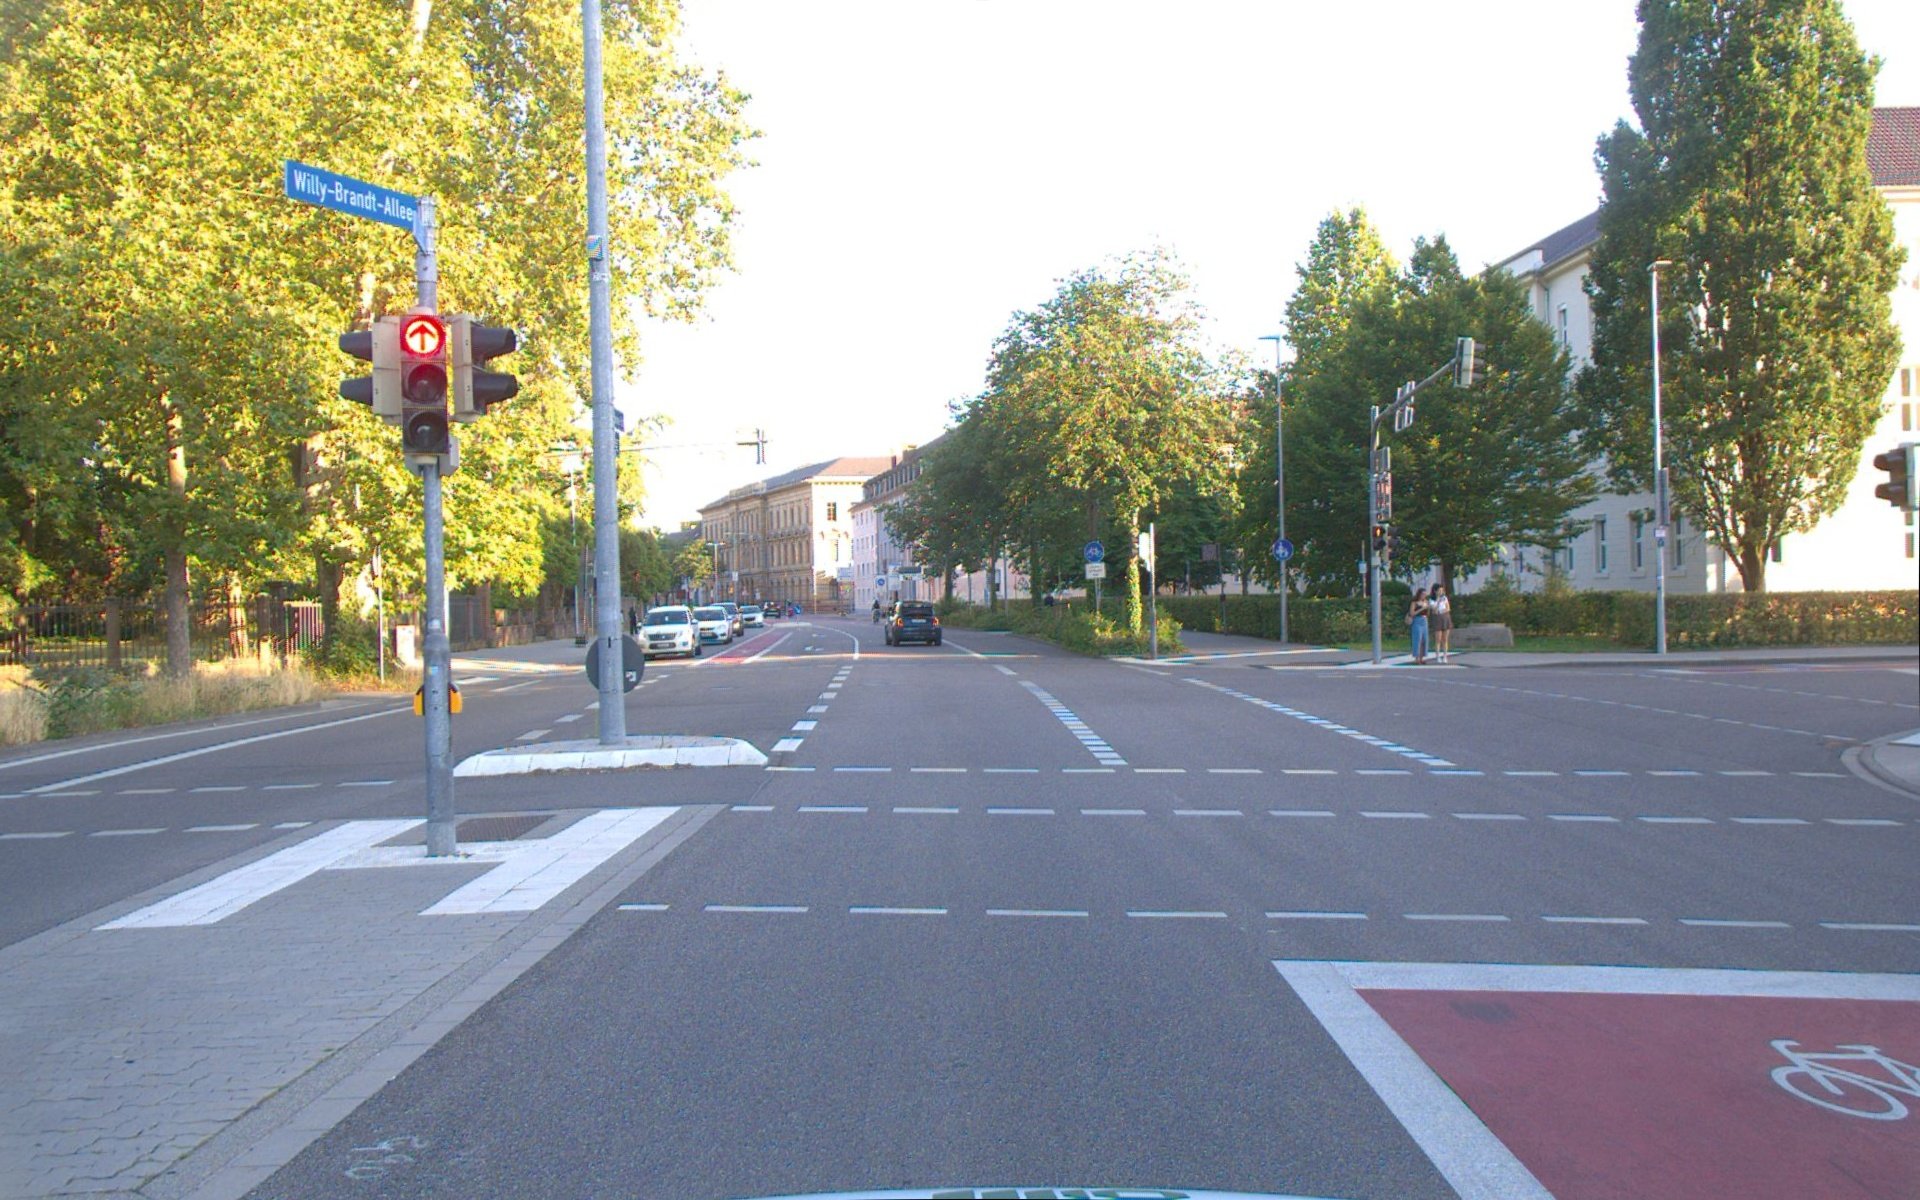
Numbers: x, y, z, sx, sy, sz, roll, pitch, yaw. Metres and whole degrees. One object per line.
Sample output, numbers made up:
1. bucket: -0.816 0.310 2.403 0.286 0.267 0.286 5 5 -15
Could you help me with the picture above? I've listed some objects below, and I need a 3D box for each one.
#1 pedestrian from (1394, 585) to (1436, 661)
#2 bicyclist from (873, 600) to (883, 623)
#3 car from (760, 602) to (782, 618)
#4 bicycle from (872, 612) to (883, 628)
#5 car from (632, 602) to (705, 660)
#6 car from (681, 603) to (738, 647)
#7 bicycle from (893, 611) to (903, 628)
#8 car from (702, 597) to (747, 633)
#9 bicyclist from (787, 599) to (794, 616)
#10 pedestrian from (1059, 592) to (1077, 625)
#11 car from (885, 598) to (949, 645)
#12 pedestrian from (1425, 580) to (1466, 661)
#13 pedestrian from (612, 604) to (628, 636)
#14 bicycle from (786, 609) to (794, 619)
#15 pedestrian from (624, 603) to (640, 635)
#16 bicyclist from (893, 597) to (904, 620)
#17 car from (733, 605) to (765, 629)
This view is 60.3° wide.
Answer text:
1. pedestrian: 10.181 0.500 37.013 0.667 1.650 0.845 -1 0 -1
2. bicyclist: -5.383 0.739 108.241 0.639 1.471 0.878 1 0 -5
3. car: -19.431 1.020 169.728 1.882 1.442 4.758 -3 0 -11
4. bicycle: -5.401 1.299 108.267 0.639 1.033 2.196 1 0 -4
5. car: -9.454 0.973 53.967 1.879 1.725 4.422 -3 0 -5
6. car: -10.227 0.986 67.798 1.879 1.611 4.669 -3 0 -5
7. bicycle: -4.079 1.280 109.147 0.639 1.033 2.196 1 0 -3
8. car: -11.697 0.723 82.519 1.879 1.653 4.634 -3 0 -5
9. bicyclist: -17.836 0.813 173.608 0.640 1.727 0.954 1 -1 -11
10. pedestrian: 5.757 0.455 87.933 0.756 1.769 0.805 -1 0 -10
11. car: -1.526 0.726 57.407 1.832 1.536 3.994 -1 0 -7
12. pedestrian: 10.875 0.442 37.037 0.667 1.784 0.688 -1 0 -1
13. pedestrian: -17.875 1.039 86.893 0.667 1.650 0.688 -1 0 -1
14. bicycle: -17.842 1.469 173.584 0.640 1.033 2.192 1 0 -10
15. pedestrian: -17.160 0.984 86.611 0.667 1.650 0.688 -1 0 -1
16. bicyclist: -4.072 0.571 109.340 0.639 1.501 0.940 1 0 -4
17. car: -14.157 1.153 111.297 1.879 1.442 4.765 -3 0 -5
